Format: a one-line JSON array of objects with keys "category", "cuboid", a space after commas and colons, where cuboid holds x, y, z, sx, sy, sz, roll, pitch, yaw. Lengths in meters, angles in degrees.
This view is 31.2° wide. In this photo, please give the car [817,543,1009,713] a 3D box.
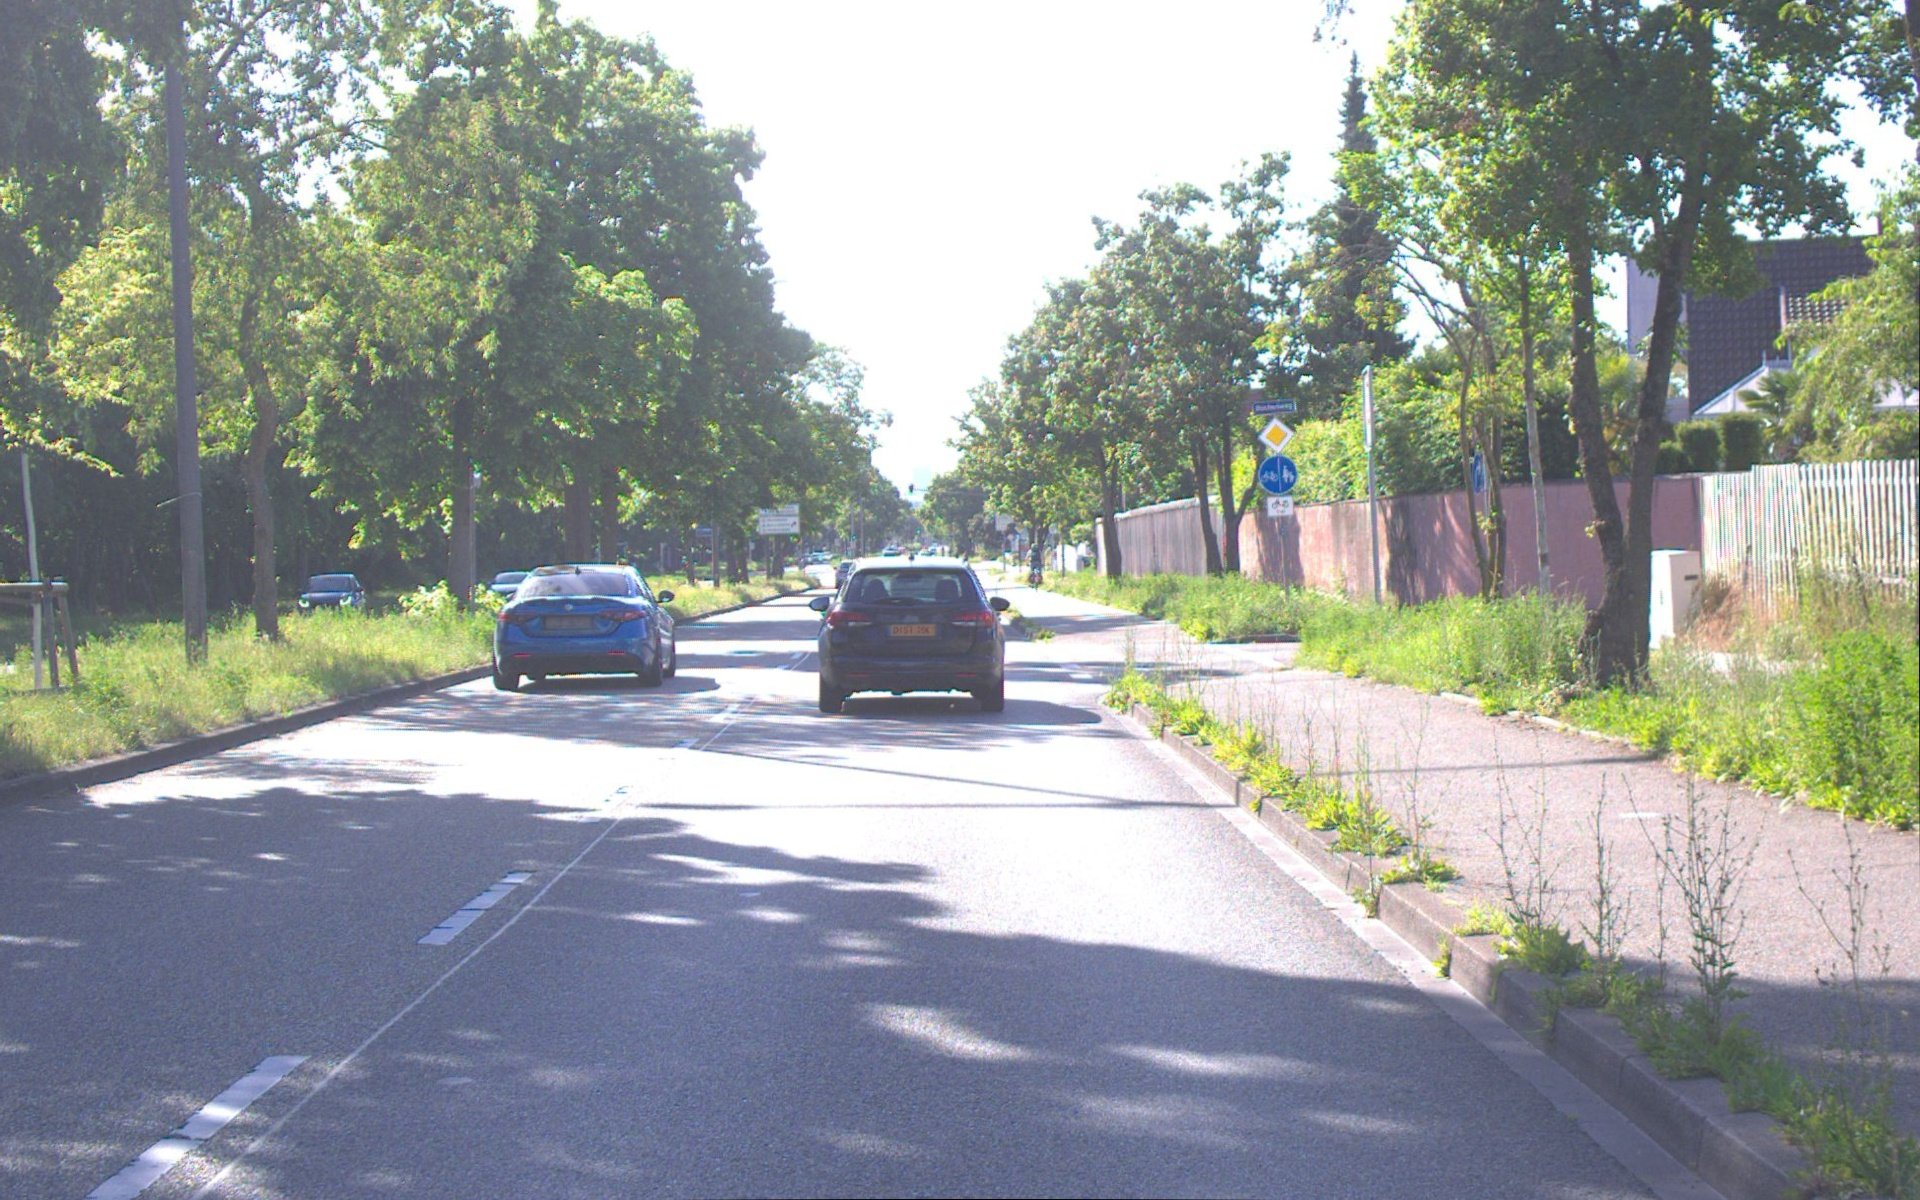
[{"category": "car", "cuboid": [-0.417, 0.232, 33.560, 1.760, 1.554, 4.000, 0, 1, 0]}]

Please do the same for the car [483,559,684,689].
[{"category": "car", "cuboid": [-4.362, 0.244, 40.361, 1.994, 1.400, 4.000, -1, 1, -1]}]

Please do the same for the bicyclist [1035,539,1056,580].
[{"category": "bicyclist", "cuboid": [2.965, -1.412, 118.912, 0.680, 1.414, 0.812, -1, 1, -1]}]

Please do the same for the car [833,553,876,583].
[{"category": "car", "cuboid": [-5.483, -1.671, 178.399, 1.978, 1.435, 4.001, -2, 2, -4]}]

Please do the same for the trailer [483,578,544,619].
[{"category": "trailer", "cuboid": [-17.342, -0.082, 133.726, 1.740, 1.419, 4.496, -3, 1, 0]}]

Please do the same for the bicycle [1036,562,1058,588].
[{"category": "bicycle", "cuboid": [2.996, -0.864, 118.798, 0.655, 0.889, 1.875, -1, 1, -1]}]

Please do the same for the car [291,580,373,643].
[{"category": "car", "cuboid": [-17.588, 0.321, 96.366, 1.715, 1.500, 3.017, -4, 3, -2]}]
